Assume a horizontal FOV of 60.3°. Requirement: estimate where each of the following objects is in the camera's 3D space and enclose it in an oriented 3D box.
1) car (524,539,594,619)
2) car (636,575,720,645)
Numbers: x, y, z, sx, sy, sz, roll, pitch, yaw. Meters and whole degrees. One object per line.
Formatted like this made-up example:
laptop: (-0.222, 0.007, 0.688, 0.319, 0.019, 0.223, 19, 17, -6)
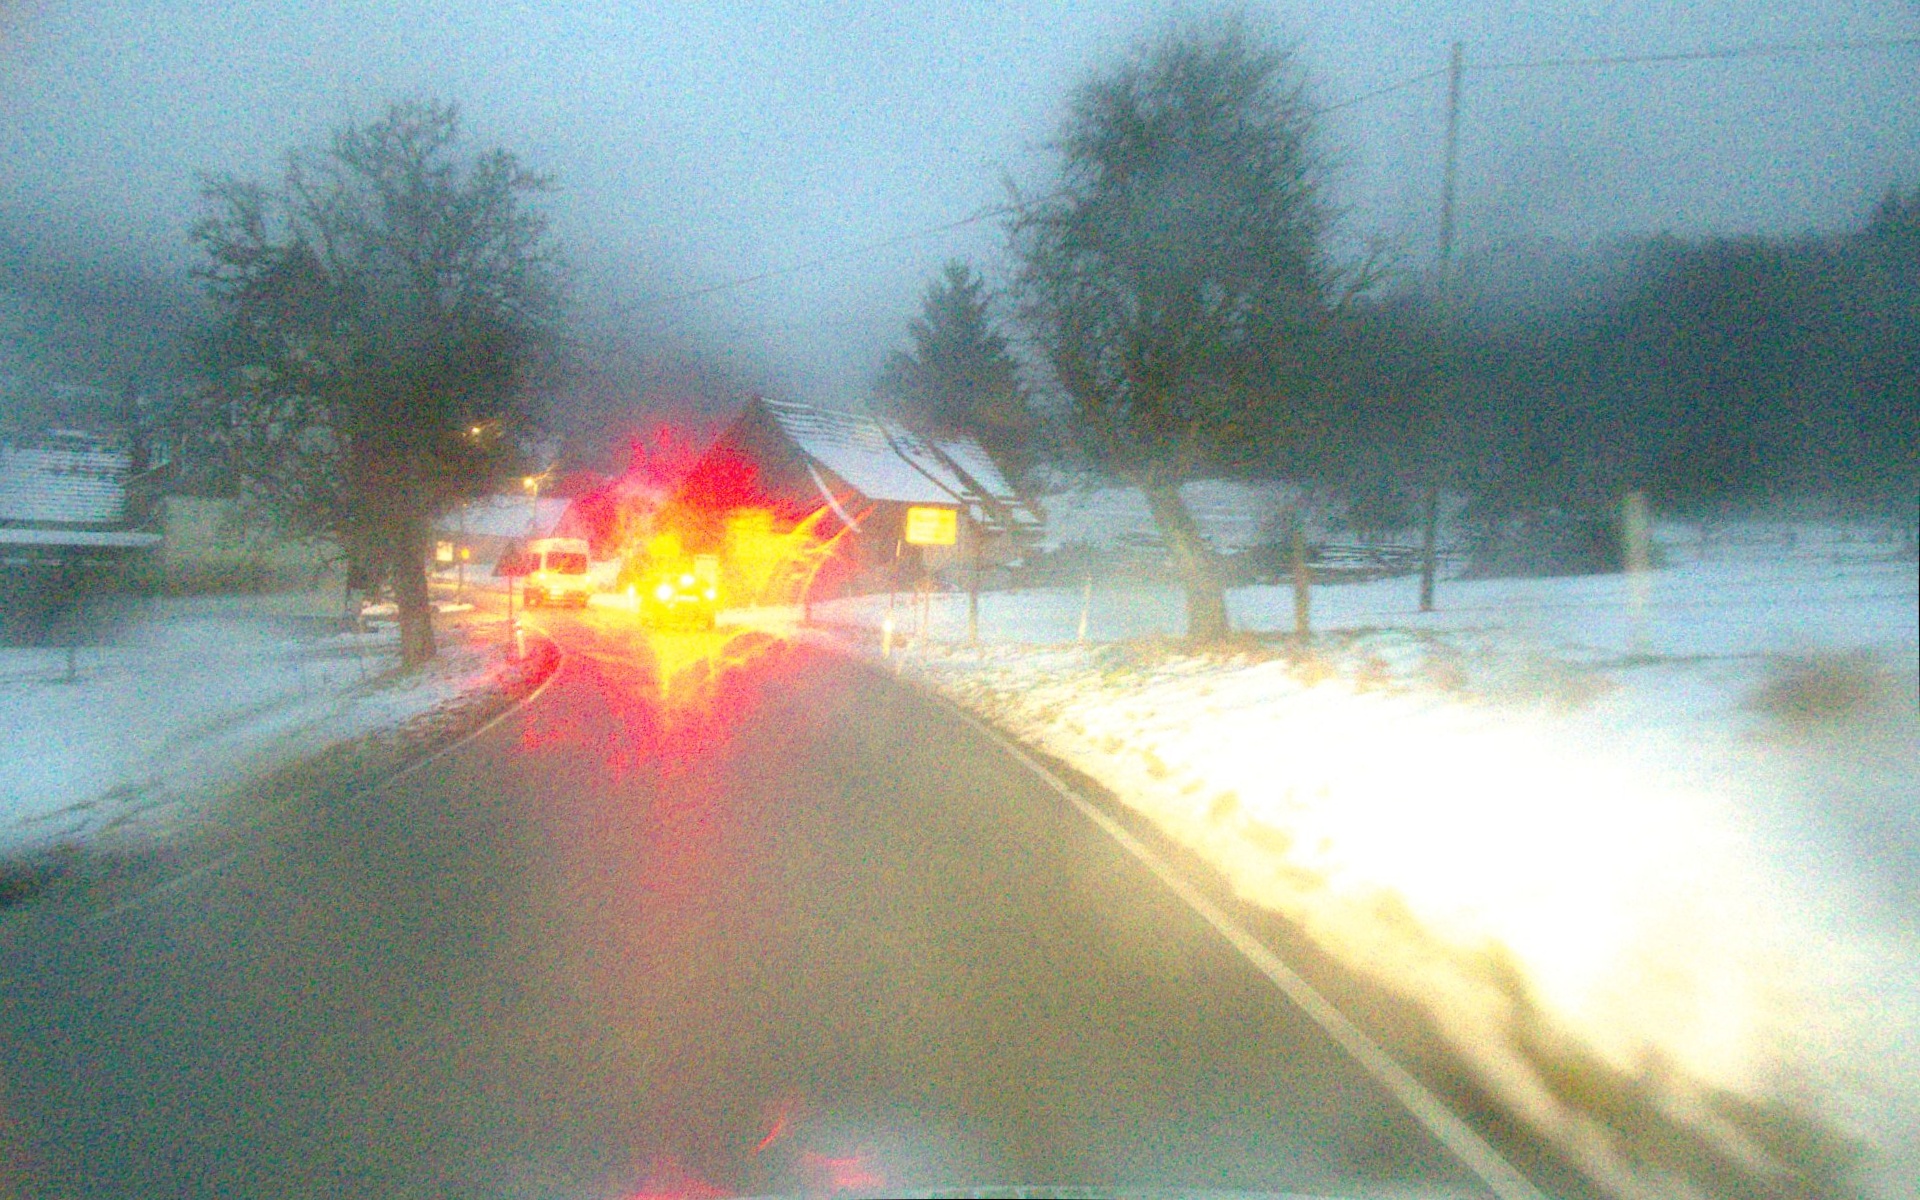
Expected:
car: (-16.168, -0.797, 66.942, 2.391, 3.071, 5.312, 1, -1, -10)
car: (-8.115, 0.247, 47.294, 2.234, 1.873, 4.993, 0, 0, -11)
